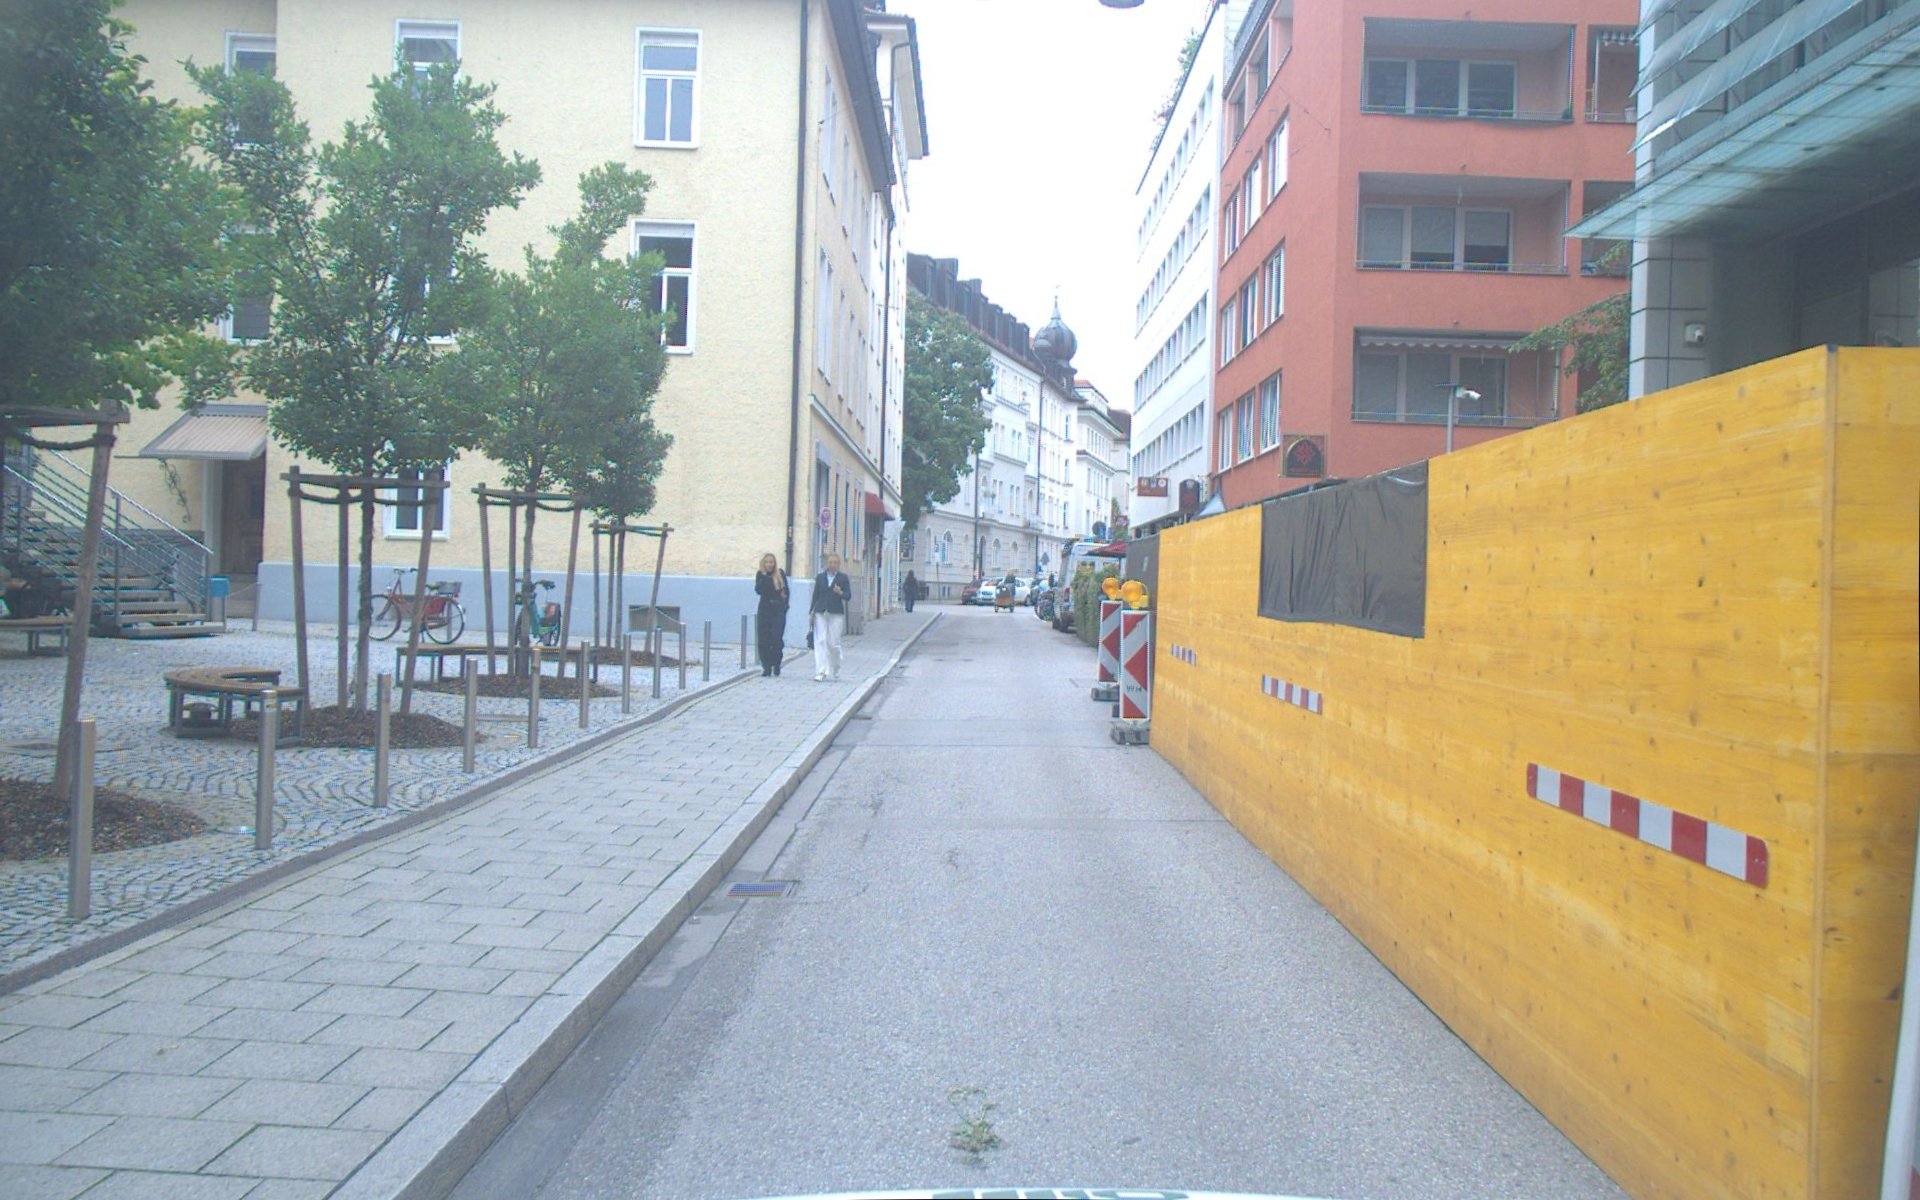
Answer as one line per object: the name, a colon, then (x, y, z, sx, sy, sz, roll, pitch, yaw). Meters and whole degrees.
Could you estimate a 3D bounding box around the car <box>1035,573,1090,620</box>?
car: (3.873, -0.146, 63.022, 1.751, 1.653, 4.273, 3, 1, -1)

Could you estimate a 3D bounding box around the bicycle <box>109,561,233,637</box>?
bicycle: (-12.355, -0.018, 25.924, 1.621, 1.087, 0.598, 3, 0, 4)

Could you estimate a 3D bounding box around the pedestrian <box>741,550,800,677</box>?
pedestrian: (-2.605, 0.179, 22.737, 0.656, 1.676, 0.761, 2, 0, -1)

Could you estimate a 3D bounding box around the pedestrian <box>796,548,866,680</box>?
pedestrian: (-1.753, 0.185, 22.612, 0.822, 1.730, 0.803, 2, 0, 0)

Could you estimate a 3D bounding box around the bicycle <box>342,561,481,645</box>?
bicycle: (-8.683, 0.045, 26.201, 2.000, 1.218, 0.570, 3, 0, 7)

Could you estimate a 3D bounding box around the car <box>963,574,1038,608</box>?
car: (2.103, -0.458, 84.654, 1.666, 1.601, 3.978, 3, 1, 40)

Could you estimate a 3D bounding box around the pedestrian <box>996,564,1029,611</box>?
pedestrian: (2.365, -0.540, 74.554, 1.109, 2.048, 1.410, 3, 0, 16)

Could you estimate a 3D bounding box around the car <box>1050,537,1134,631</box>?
car: (3.866, -0.485, 49.308, 1.953, 2.580, 4.975, 2, 1, -1)

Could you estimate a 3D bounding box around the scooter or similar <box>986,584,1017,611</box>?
scooter or similar: (1.849, -0.117, 73.165, 1.045, 1.146, 1.161, 3, 0, 16)

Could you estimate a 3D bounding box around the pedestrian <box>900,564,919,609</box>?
pedestrian: (-1.957, -0.531, 63.977, 0.621, 1.704, 0.517, 2, 0, 0)

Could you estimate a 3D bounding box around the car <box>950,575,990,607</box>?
car: (0.555, -0.493, 89.369, 1.655, 1.601, 4.003, 3, 1, 7)

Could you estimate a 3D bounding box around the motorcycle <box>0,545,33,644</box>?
motorcycle: (-13.550, -0.125, 21.667, 2.448, 1.266, 0.759, 3, 0, 7)

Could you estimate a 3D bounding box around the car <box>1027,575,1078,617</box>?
car: (3.761, -0.176, 67.681, 1.774, 1.590, 4.274, 3, 1, 0)

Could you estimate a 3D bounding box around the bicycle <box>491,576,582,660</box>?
bicycle: (-6.229, 0.244, 24.421, 0.499, 1.164, 2.054, 3, 1, 8)

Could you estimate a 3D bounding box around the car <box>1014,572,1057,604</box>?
car: (4.762, -0.726, 103.921, 1.977, 1.937, 4.294, 1, 0, 13)
